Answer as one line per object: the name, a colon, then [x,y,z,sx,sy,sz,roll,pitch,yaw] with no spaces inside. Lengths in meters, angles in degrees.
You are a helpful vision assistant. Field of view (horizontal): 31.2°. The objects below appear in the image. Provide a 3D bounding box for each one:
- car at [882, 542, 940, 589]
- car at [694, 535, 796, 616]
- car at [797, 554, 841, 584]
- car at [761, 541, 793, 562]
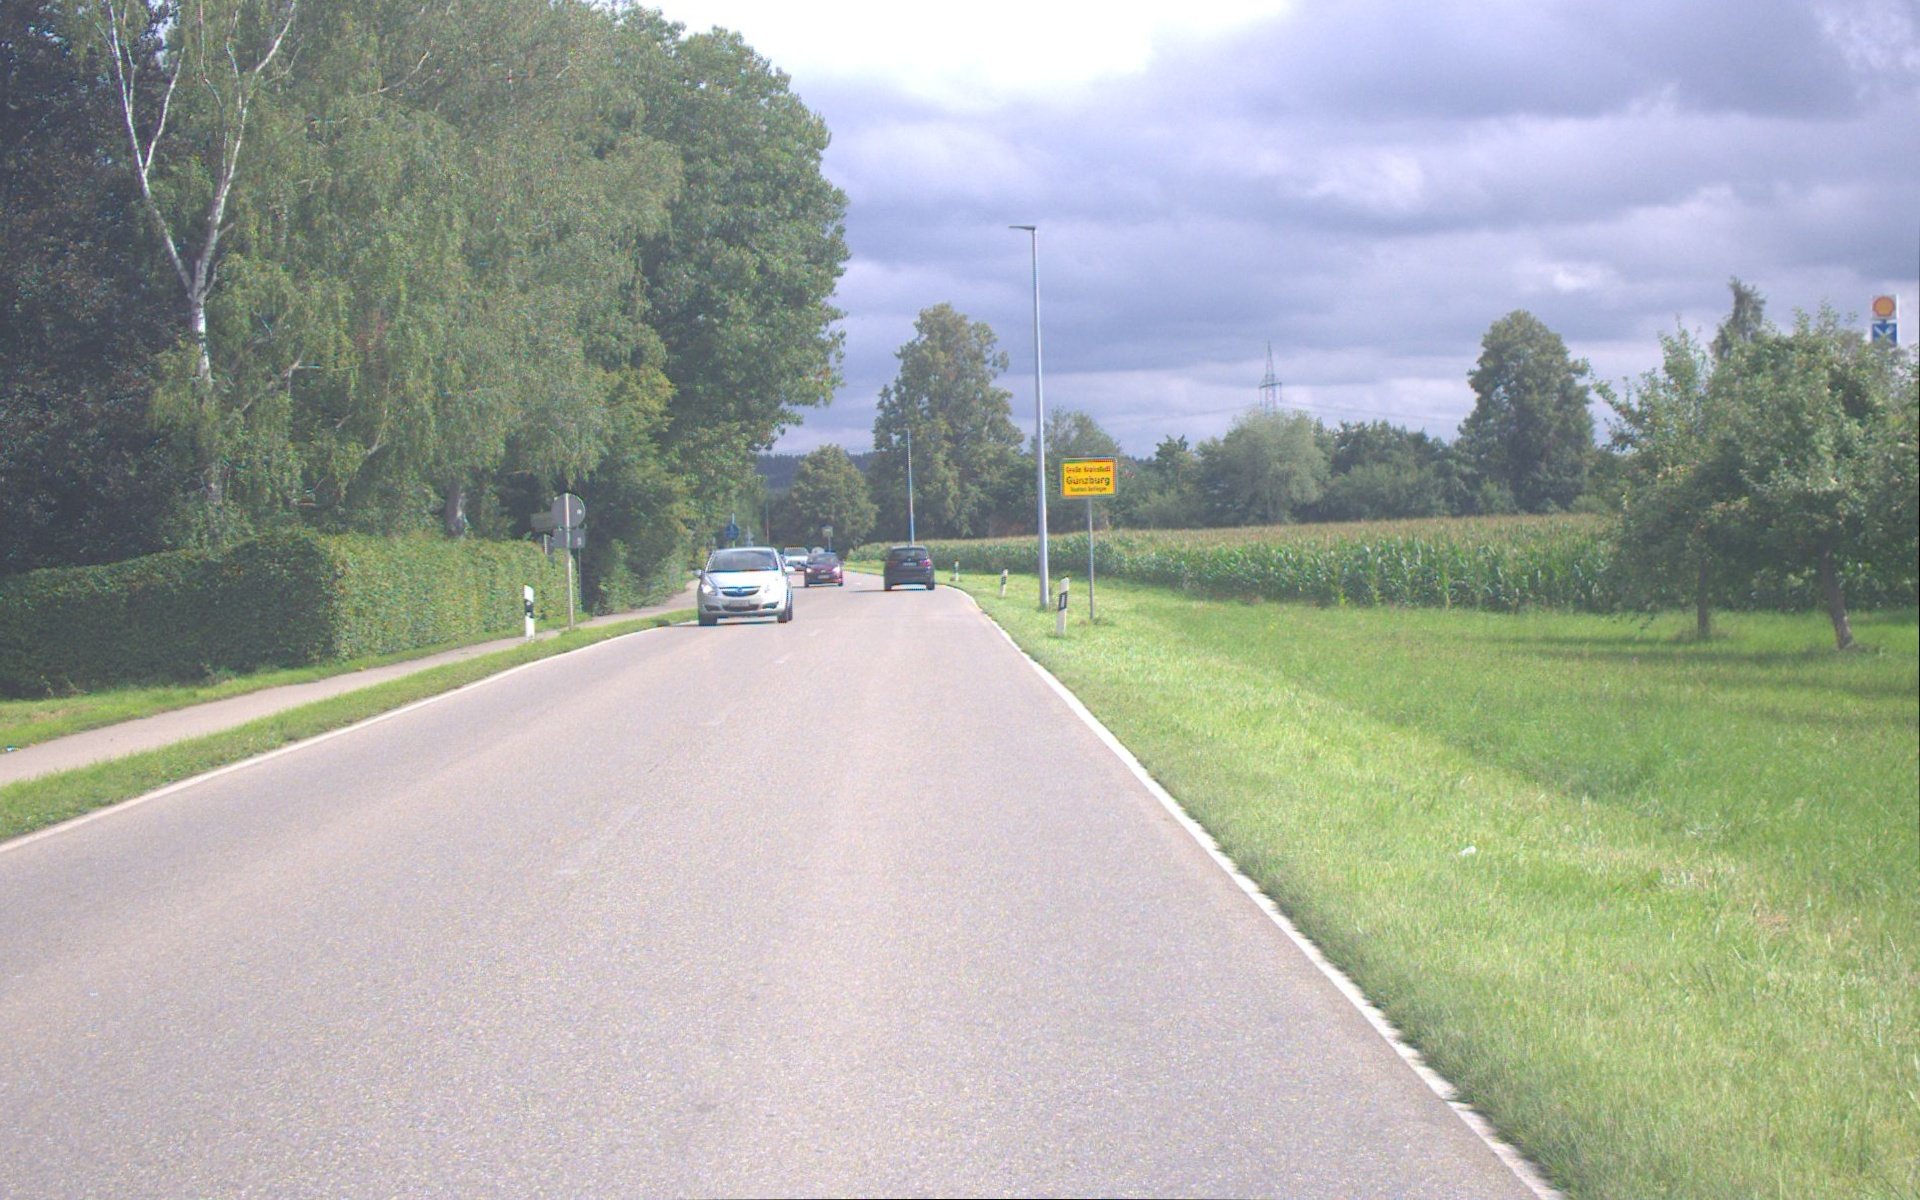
car: [-1.839,-1.293,128.075,1.906,1.660,4.001,-2,1,-3]
car: [-4.055,-0.484,65.229,1.695,1.454,3.543,-2,1,0]
car: [-6.095,-1.331,149.305,1.745,1.218,3.543,-2,1,0]
car: [-11.217,-2.961,210.434,1.745,1.218,3.543,-3,1,0]
